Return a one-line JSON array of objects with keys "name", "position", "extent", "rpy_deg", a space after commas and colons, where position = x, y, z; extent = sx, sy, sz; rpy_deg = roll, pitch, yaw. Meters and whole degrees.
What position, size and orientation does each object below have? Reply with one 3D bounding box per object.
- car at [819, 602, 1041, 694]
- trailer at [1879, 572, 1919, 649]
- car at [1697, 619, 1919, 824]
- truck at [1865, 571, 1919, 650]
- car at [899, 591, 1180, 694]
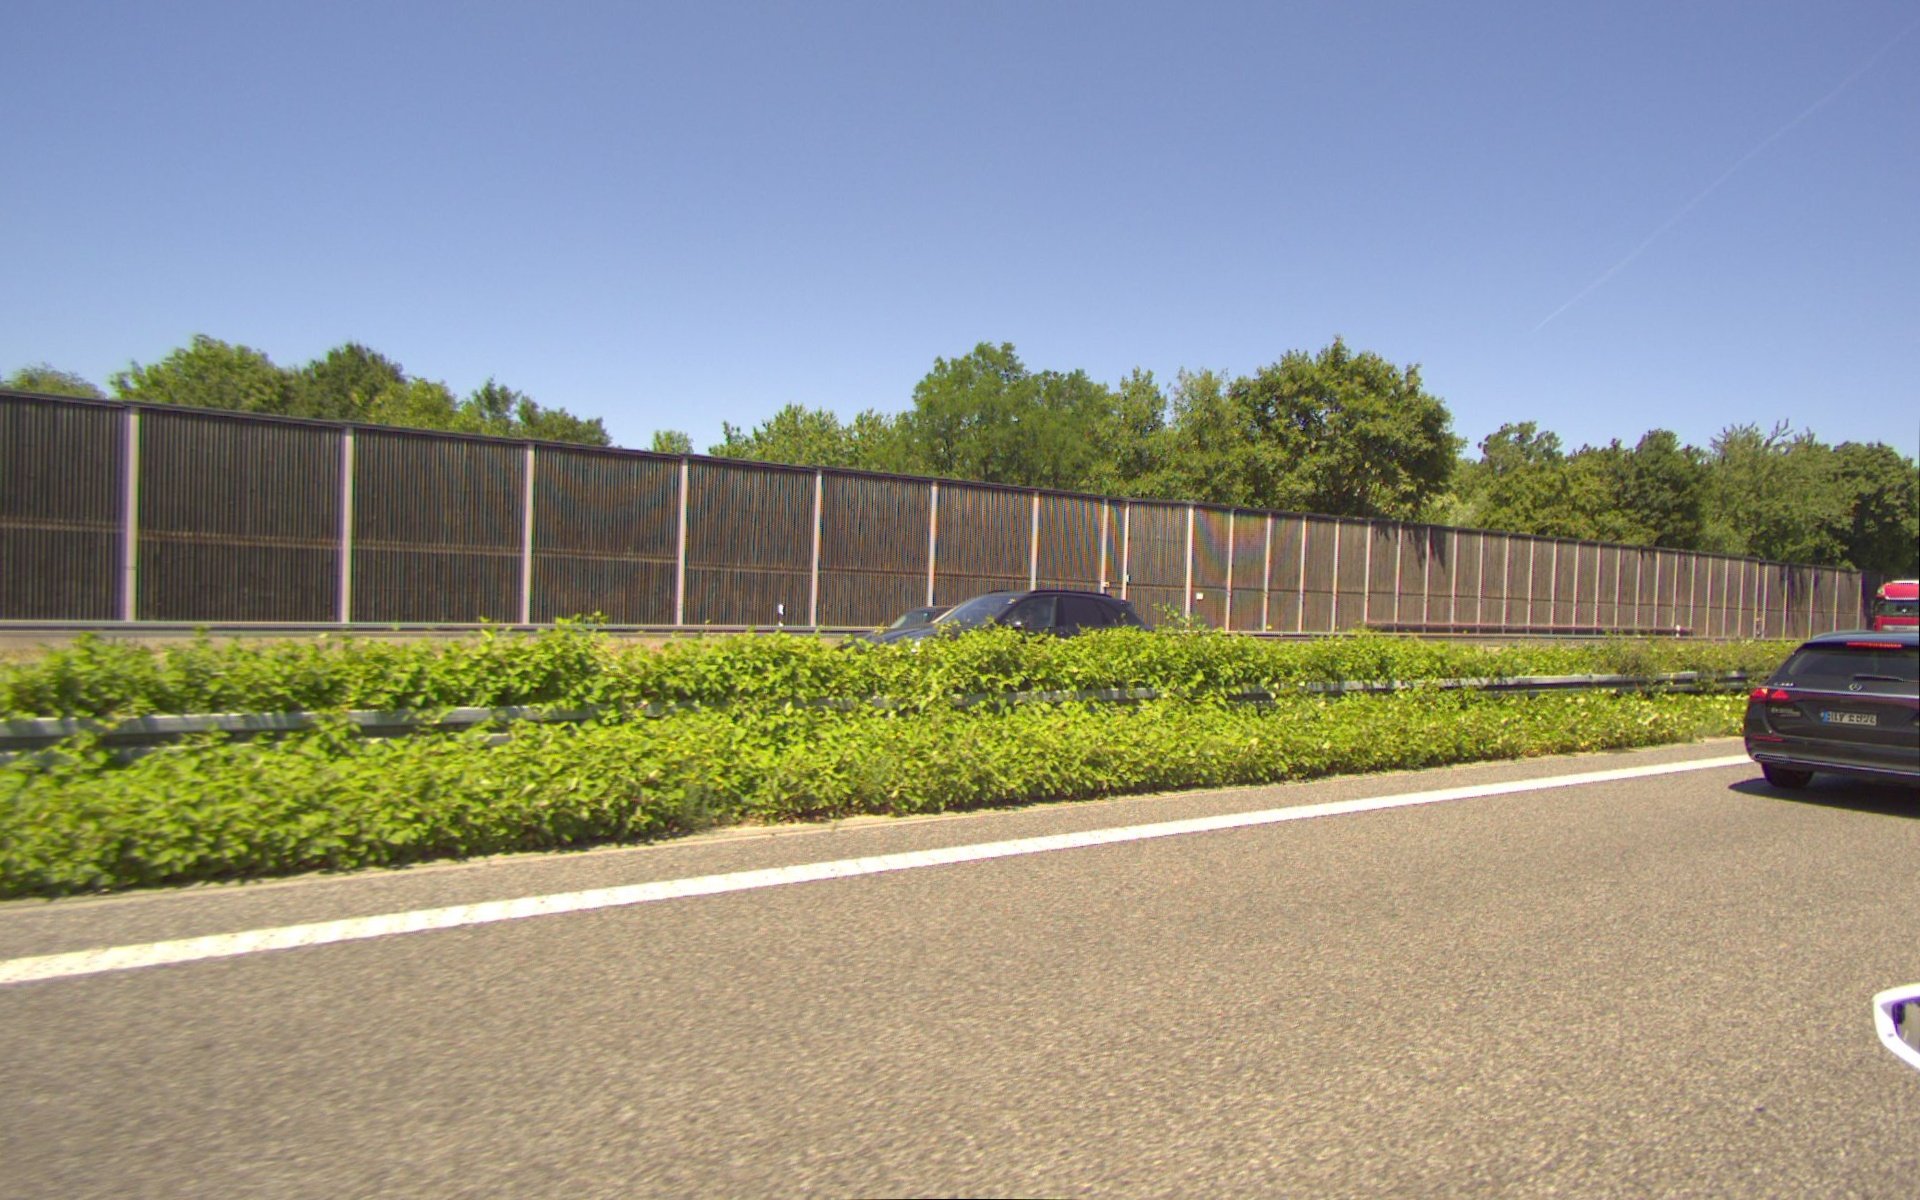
[{"name": "car", "position": [-0.567, 0.900, 19.642], "extent": [3.953, 1.621, 1.805], "rpy_deg": [1, 0, -30]}, {"name": "trailer", "position": [57.543, 0.758, 57.942], "extent": [14.100, 4.141, 2.484], "rpy_deg": [2, -1, -30]}, {"name": "car", "position": [9.507, 0.995, 9.537], "extent": [5.752, 1.526, 1.934], "rpy_deg": [1, 0, -30]}, {"name": "truck", "position": [51.812, 0.592, 54.642], "extent": [4.622, 4.141, 2.475], "rpy_deg": [2, -1, -30]}, {"name": "car", "position": [1.235, 0.600, 15.113], "extent": [3.953, 1.373, 1.698], "rpy_deg": [1, 0, -30]}]
